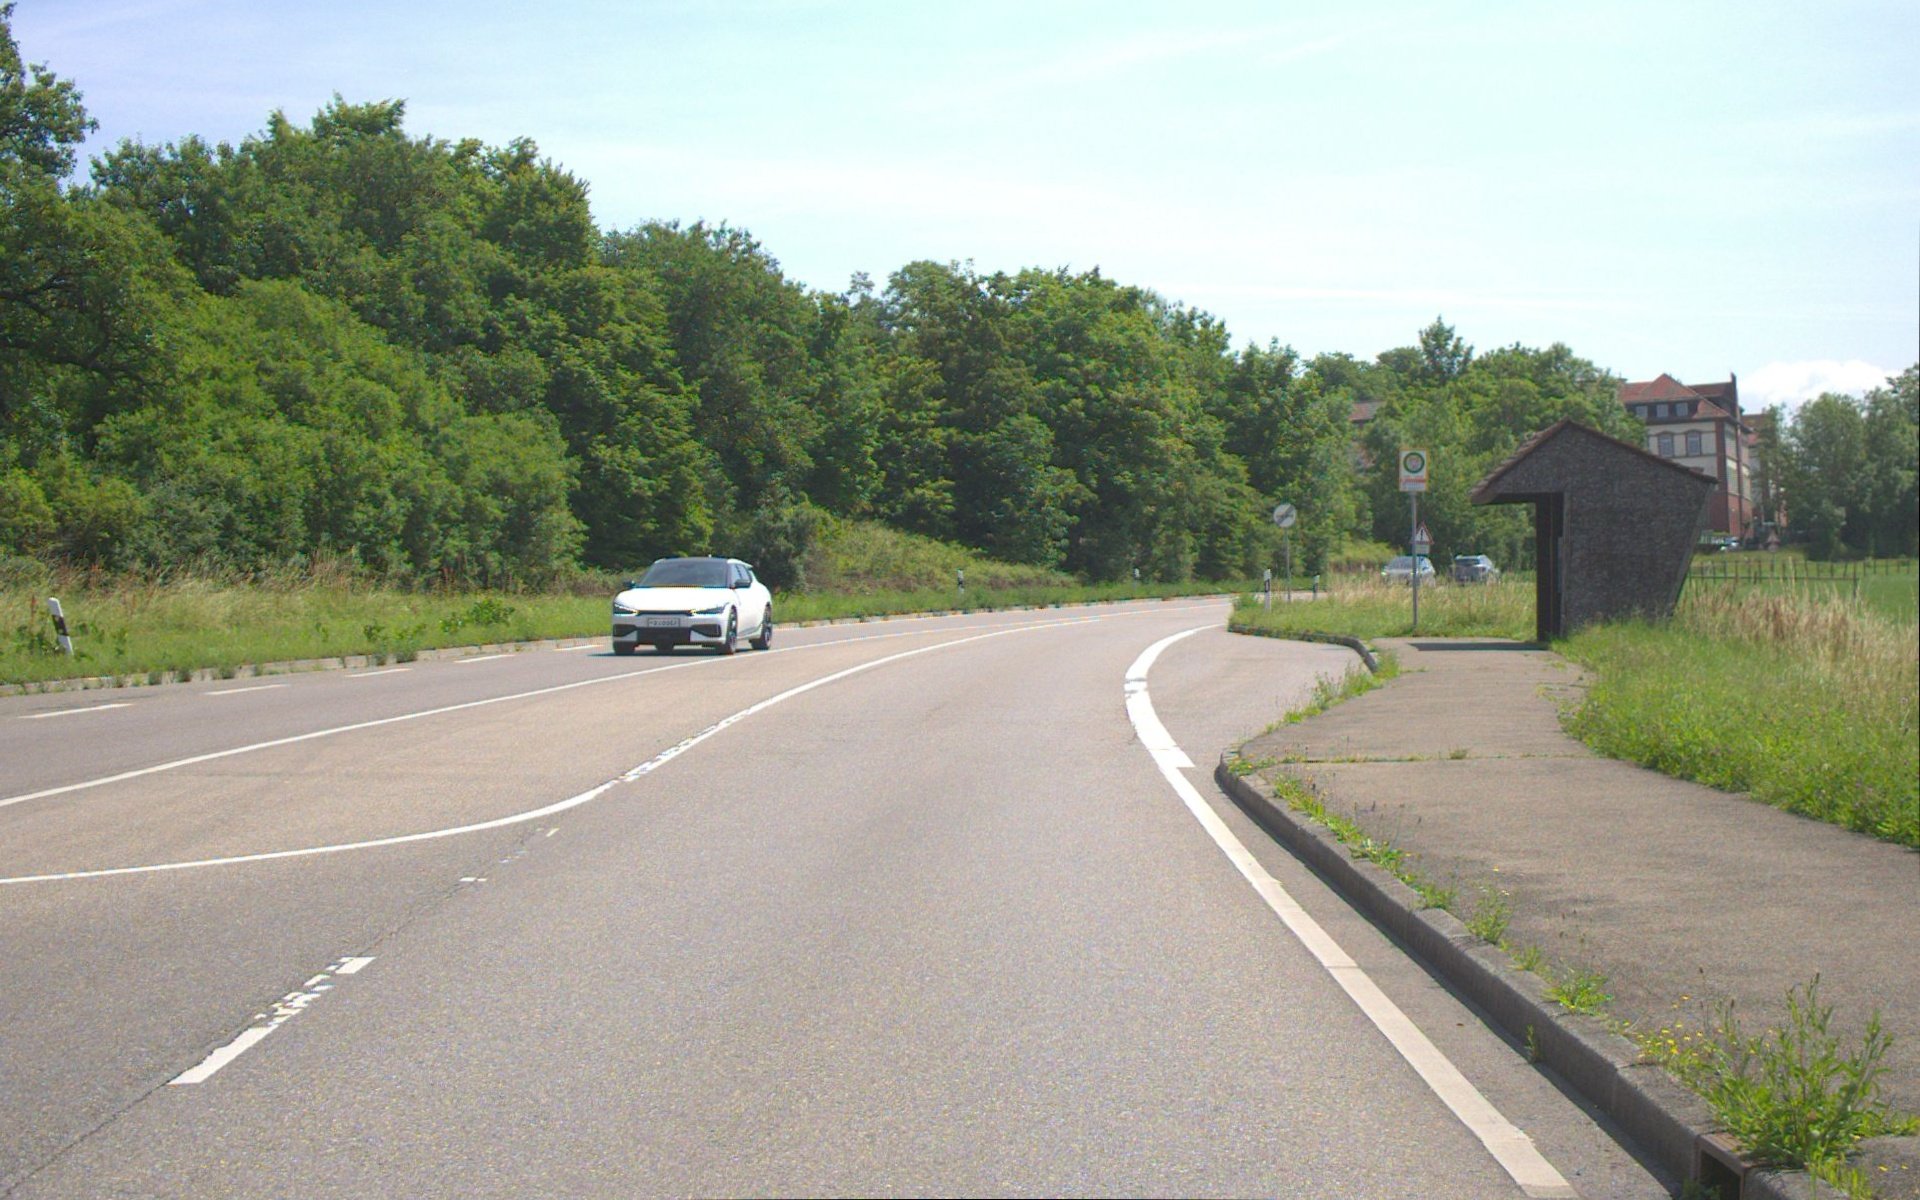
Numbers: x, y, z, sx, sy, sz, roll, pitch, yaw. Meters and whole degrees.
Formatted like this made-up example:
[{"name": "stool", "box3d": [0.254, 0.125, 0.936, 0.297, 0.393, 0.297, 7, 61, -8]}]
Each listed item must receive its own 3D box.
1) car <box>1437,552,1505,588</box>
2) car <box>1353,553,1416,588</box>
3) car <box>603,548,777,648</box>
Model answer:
[{"name": "car", "box3d": [22.135, -1.296, 148.918, 1.996, 1.568, 3.995, 0, 0, 23]}, {"name": "car", "box3d": [18.674, -1.308, 151.077, 1.756, 1.529, 4.223, 0, 0, 21]}, {"name": "car", "box3d": [-4.310, -0.056, 55.596, 1.938, 1.543, 4.626, 0, 1, 7]}]
